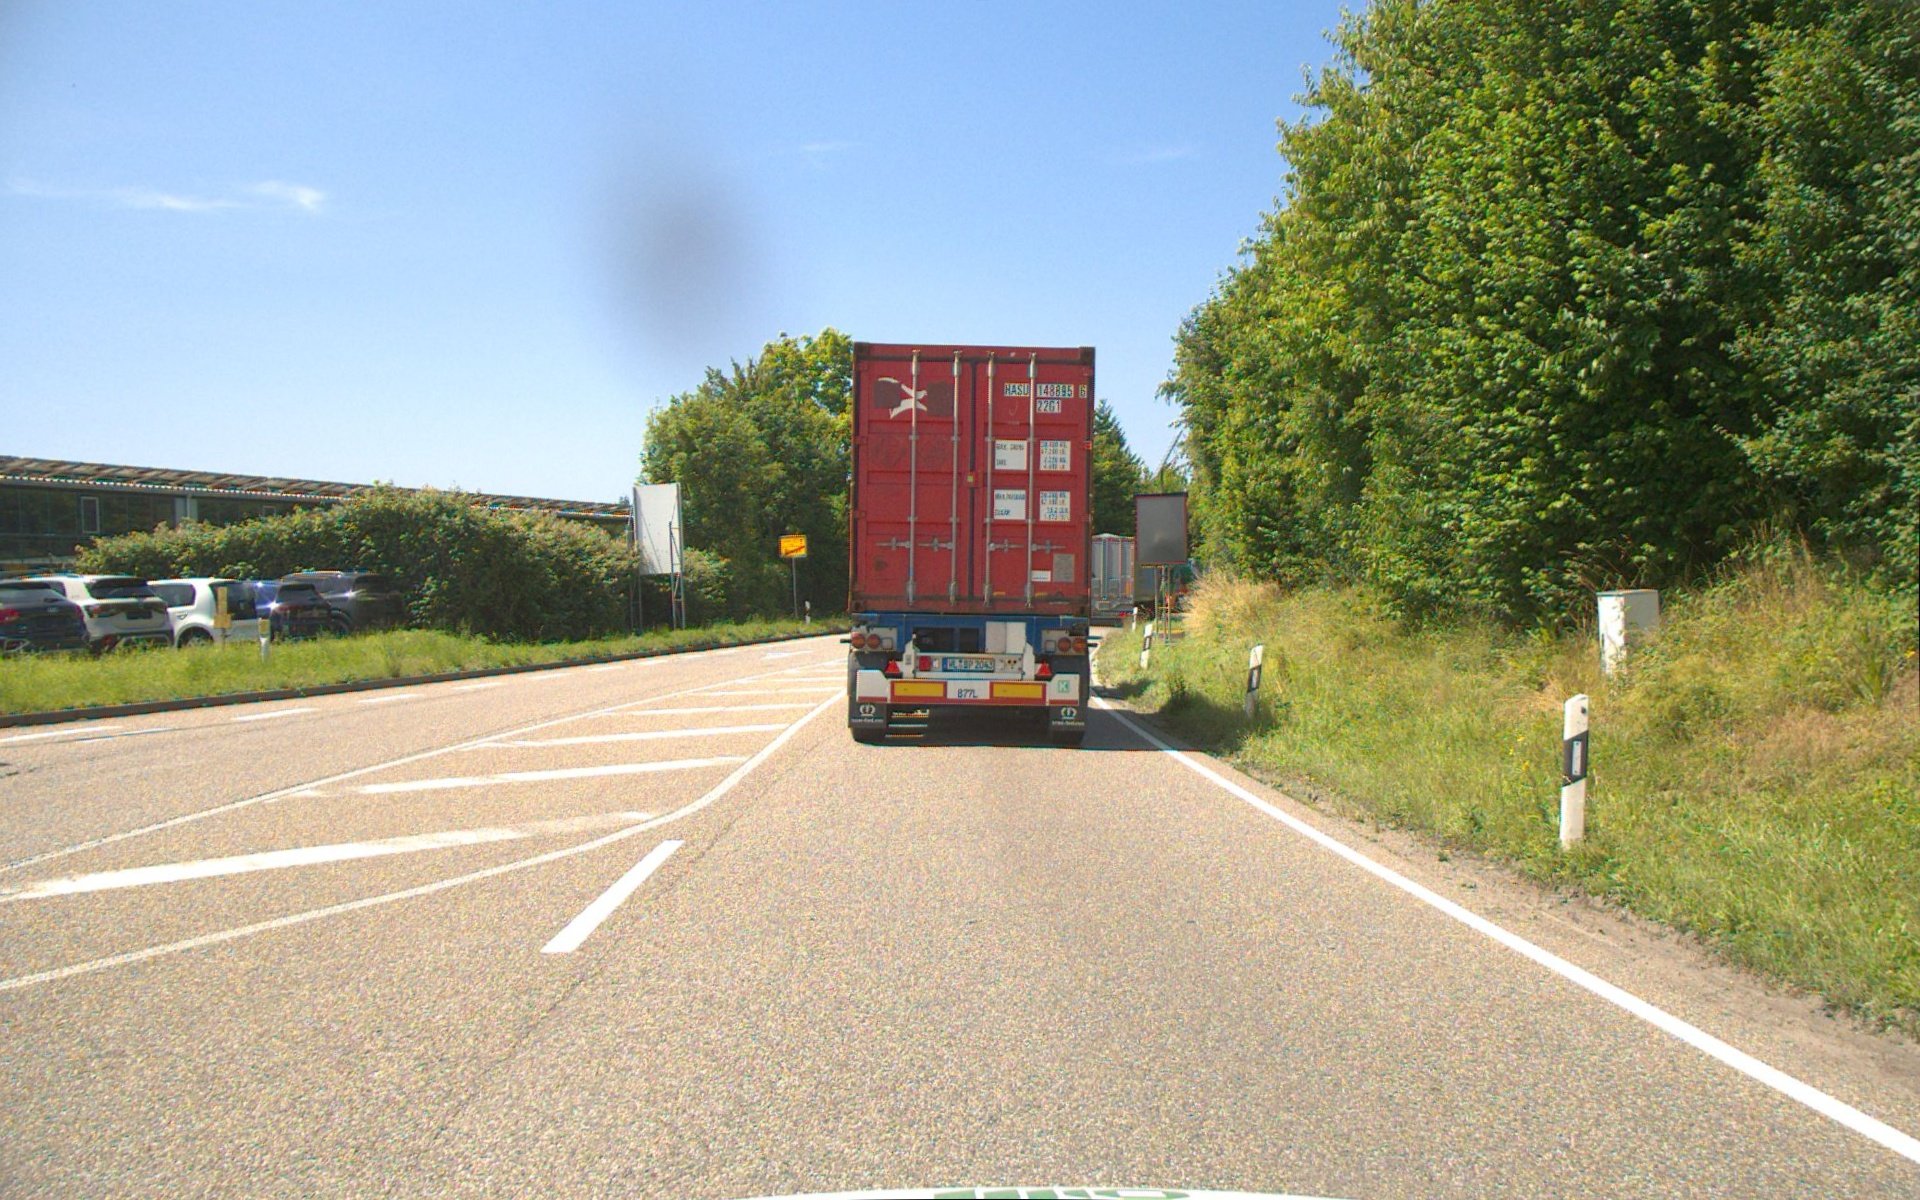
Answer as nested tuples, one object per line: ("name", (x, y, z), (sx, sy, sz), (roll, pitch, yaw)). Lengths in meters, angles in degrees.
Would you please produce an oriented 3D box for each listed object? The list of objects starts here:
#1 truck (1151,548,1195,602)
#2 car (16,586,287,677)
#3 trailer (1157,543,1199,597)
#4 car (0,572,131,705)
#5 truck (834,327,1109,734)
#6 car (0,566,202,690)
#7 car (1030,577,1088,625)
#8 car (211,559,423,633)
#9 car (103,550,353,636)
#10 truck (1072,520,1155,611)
("truck", (15.325, -1.763, 118.637), (2.524, 3.744, 7.882), (0, 1, 11))
("car", (-14.187, 0.534, 29.115), (3.902, 1.340, 1.835), (-3, 1, 11))
("trailer", (16.444, -2.225, 124.140), (2.522, 3.886, 8.923), (0, 1, 11))
("car", (-14.461, 0.597, 23.999), (3.902, 1.780, 2.002), (-3, 1, 13))
("truck", (-0.010, -0.717, 22.559), (2.594, 3.873, 13.356), (1, 0, -1))
("car", (-14.532, 0.462, 26.437), (3.902, 1.780, 2.002), (-3, 1, 13))
("car", (3.296, 0.017, 55.099), (1.794, 1.458, 4.002), (-2, 1, 3))
("car", (-12.986, -0.092, 33.482), (3.617, 1.397, 1.805), (1, 1, 14))
("car", (-13.778, -0.147, 31.235), (3.902, 1.386, 1.822), (-3, 1, 10))
("truck", (7.354, -1.636, 77.711), (2.859, 3.781, 13.372), (-2, 1, 9))
